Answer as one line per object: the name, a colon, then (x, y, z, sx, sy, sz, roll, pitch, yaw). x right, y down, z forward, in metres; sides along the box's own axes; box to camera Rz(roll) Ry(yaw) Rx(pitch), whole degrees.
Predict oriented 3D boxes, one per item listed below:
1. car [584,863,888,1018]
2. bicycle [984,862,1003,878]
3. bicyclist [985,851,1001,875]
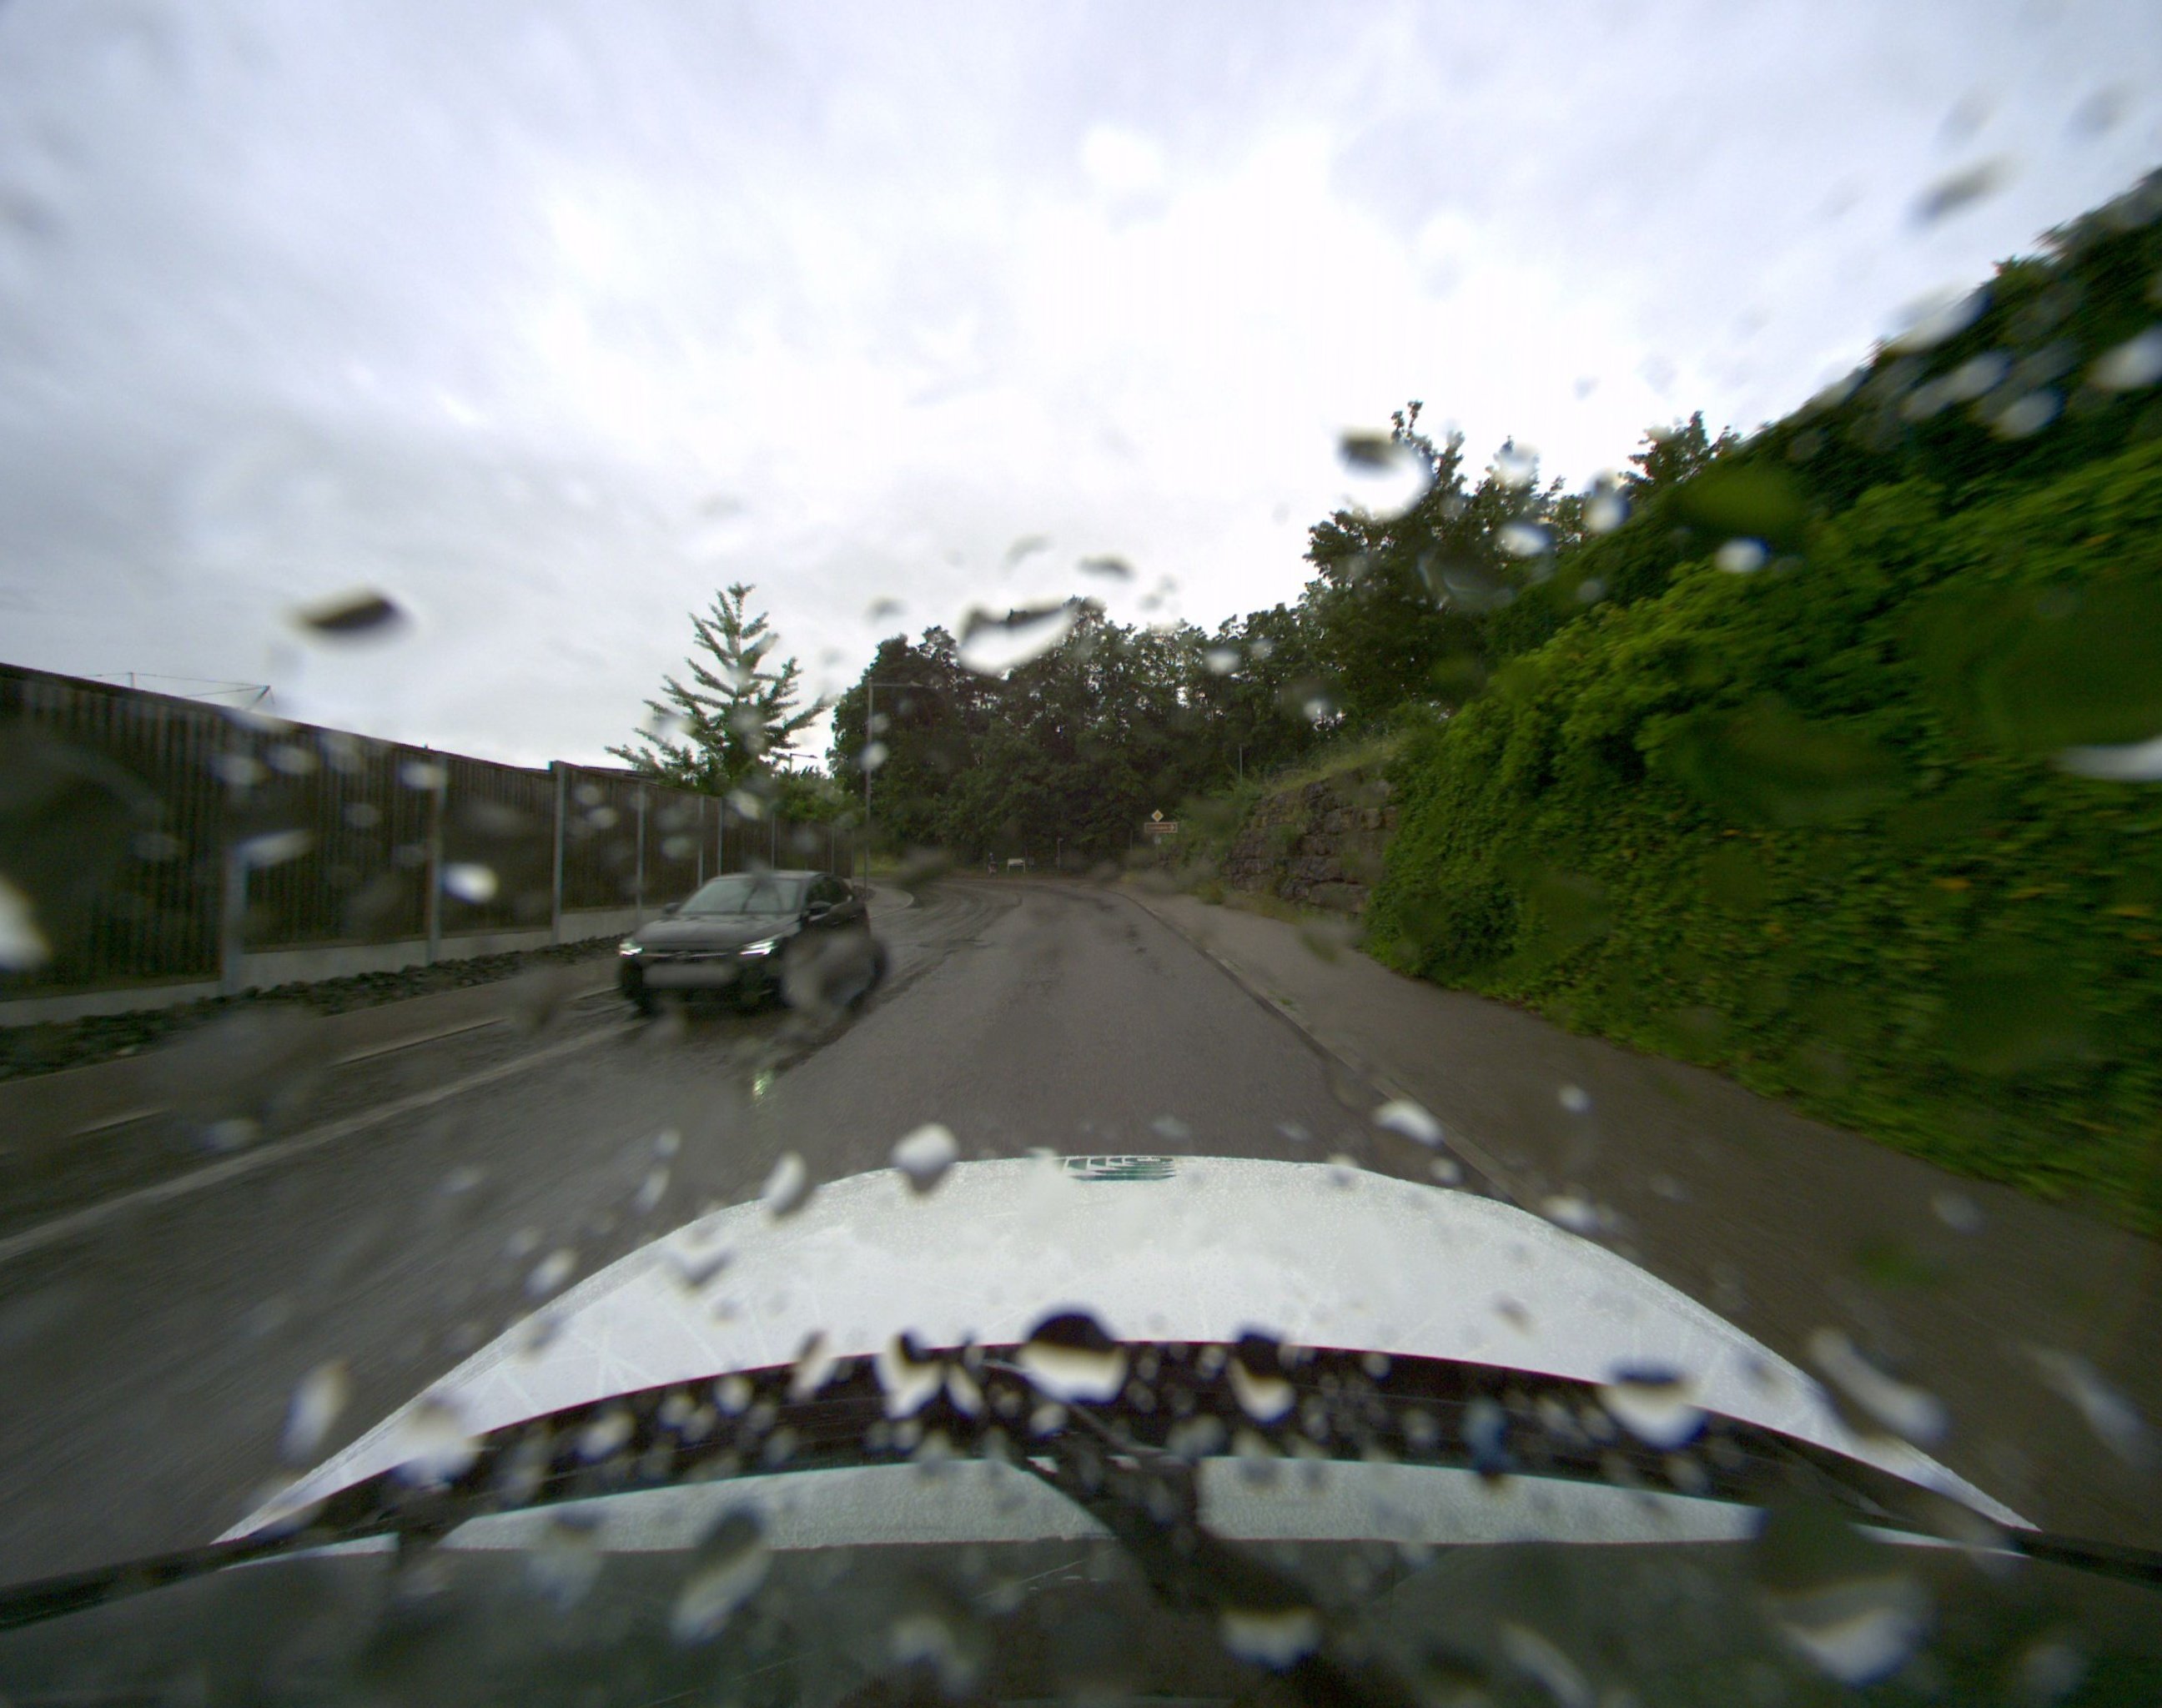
car: (-3.811, 0.859, 9.931, 1.875, 1.449, 4.208, 0, 0, 0)
bicycle: (-6.098, 1.081, 56.576, 0.531, 1.085, 1.602, 0, 0, -38)
bicyclist: (-6.110, 0.607, 56.567, 0.726, 1.615, 0.895, 0, -1, -37)
